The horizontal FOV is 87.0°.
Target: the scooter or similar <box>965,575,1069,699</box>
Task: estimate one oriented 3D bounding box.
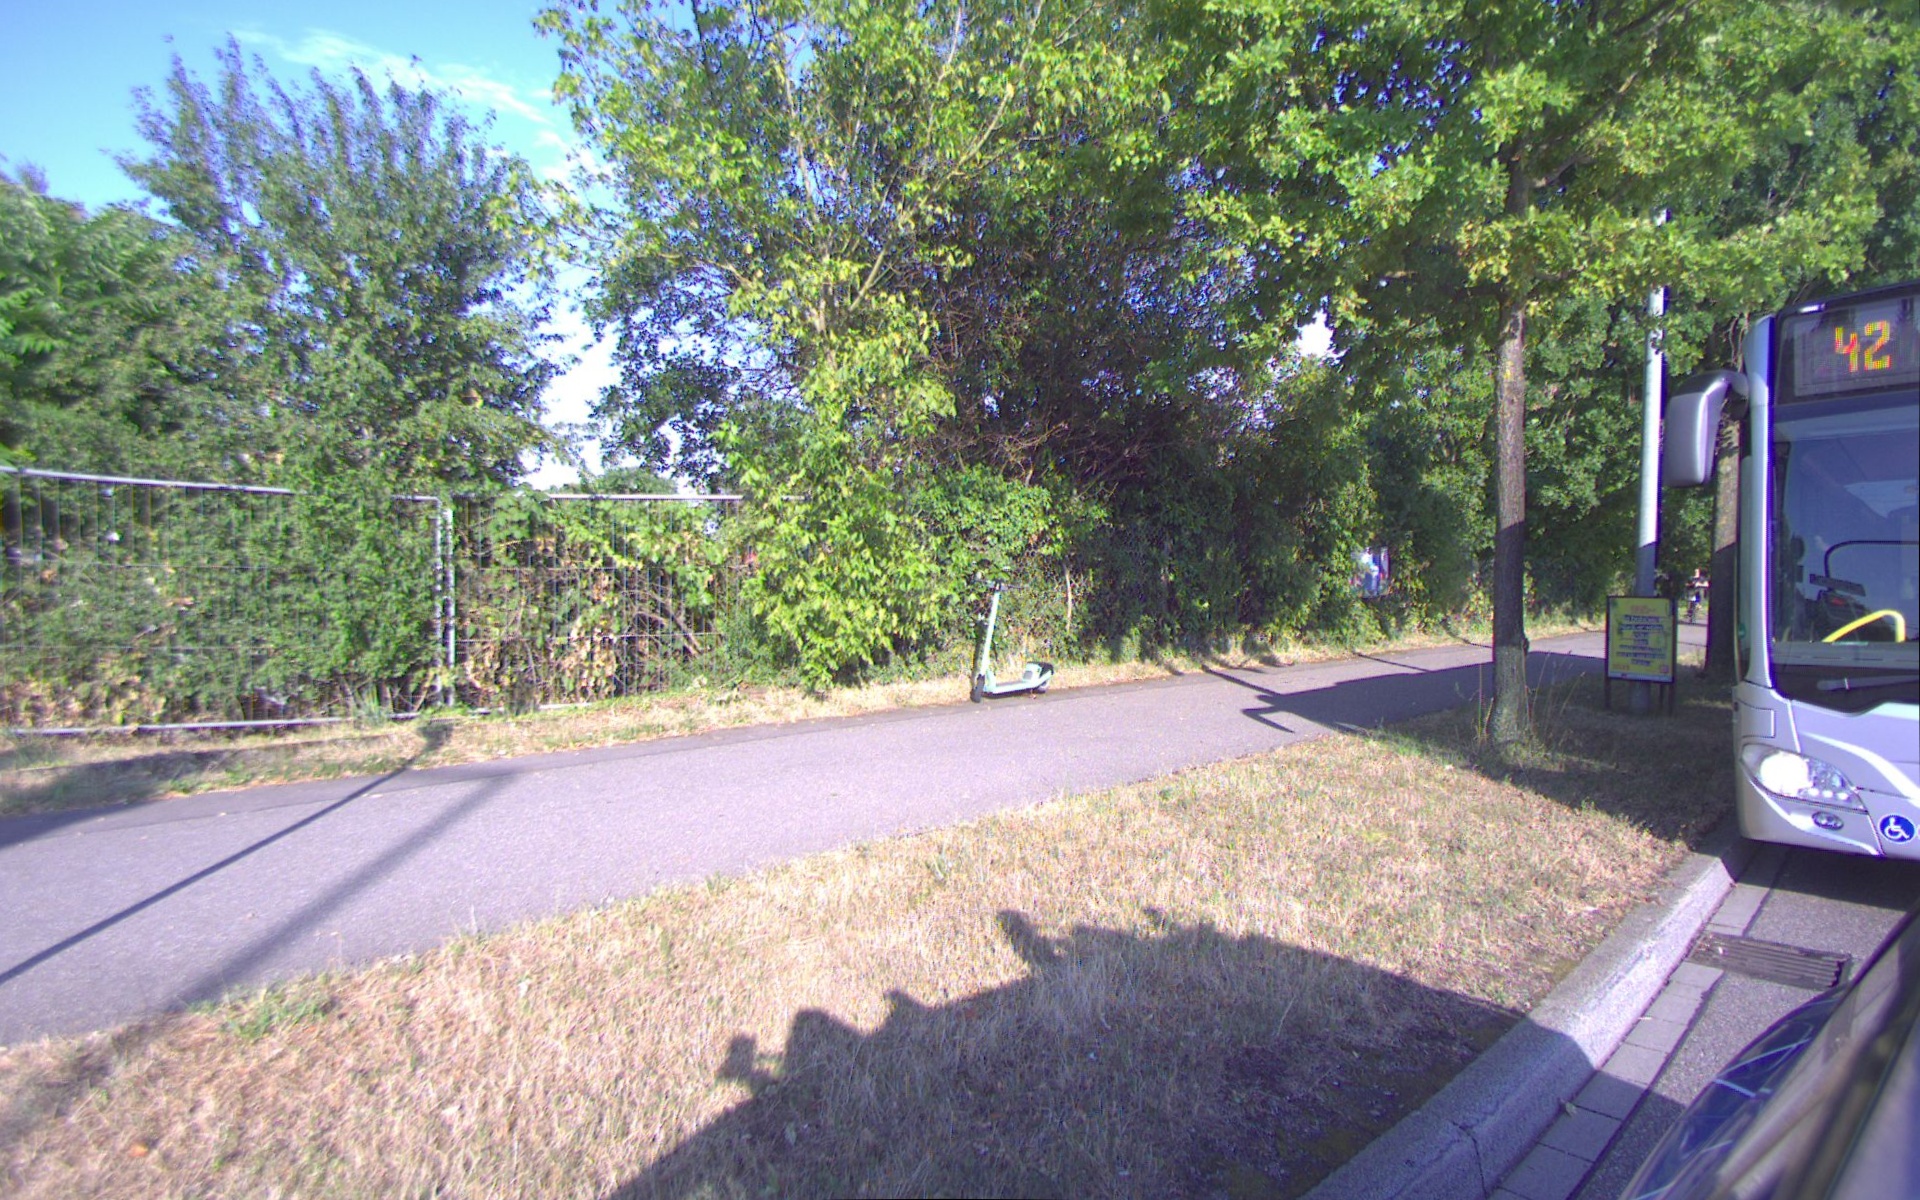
[{"bbox_3d":[0.567,0.340,9.809,1.076,1.139,0.249,0,4,-41],"label":"scooter or similar"}]

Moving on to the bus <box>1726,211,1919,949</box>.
[{"bbox_3d":[8.443,-0.106,7.949,2.588,3.081,11.535,1,1,44],"label":"bus"}]
